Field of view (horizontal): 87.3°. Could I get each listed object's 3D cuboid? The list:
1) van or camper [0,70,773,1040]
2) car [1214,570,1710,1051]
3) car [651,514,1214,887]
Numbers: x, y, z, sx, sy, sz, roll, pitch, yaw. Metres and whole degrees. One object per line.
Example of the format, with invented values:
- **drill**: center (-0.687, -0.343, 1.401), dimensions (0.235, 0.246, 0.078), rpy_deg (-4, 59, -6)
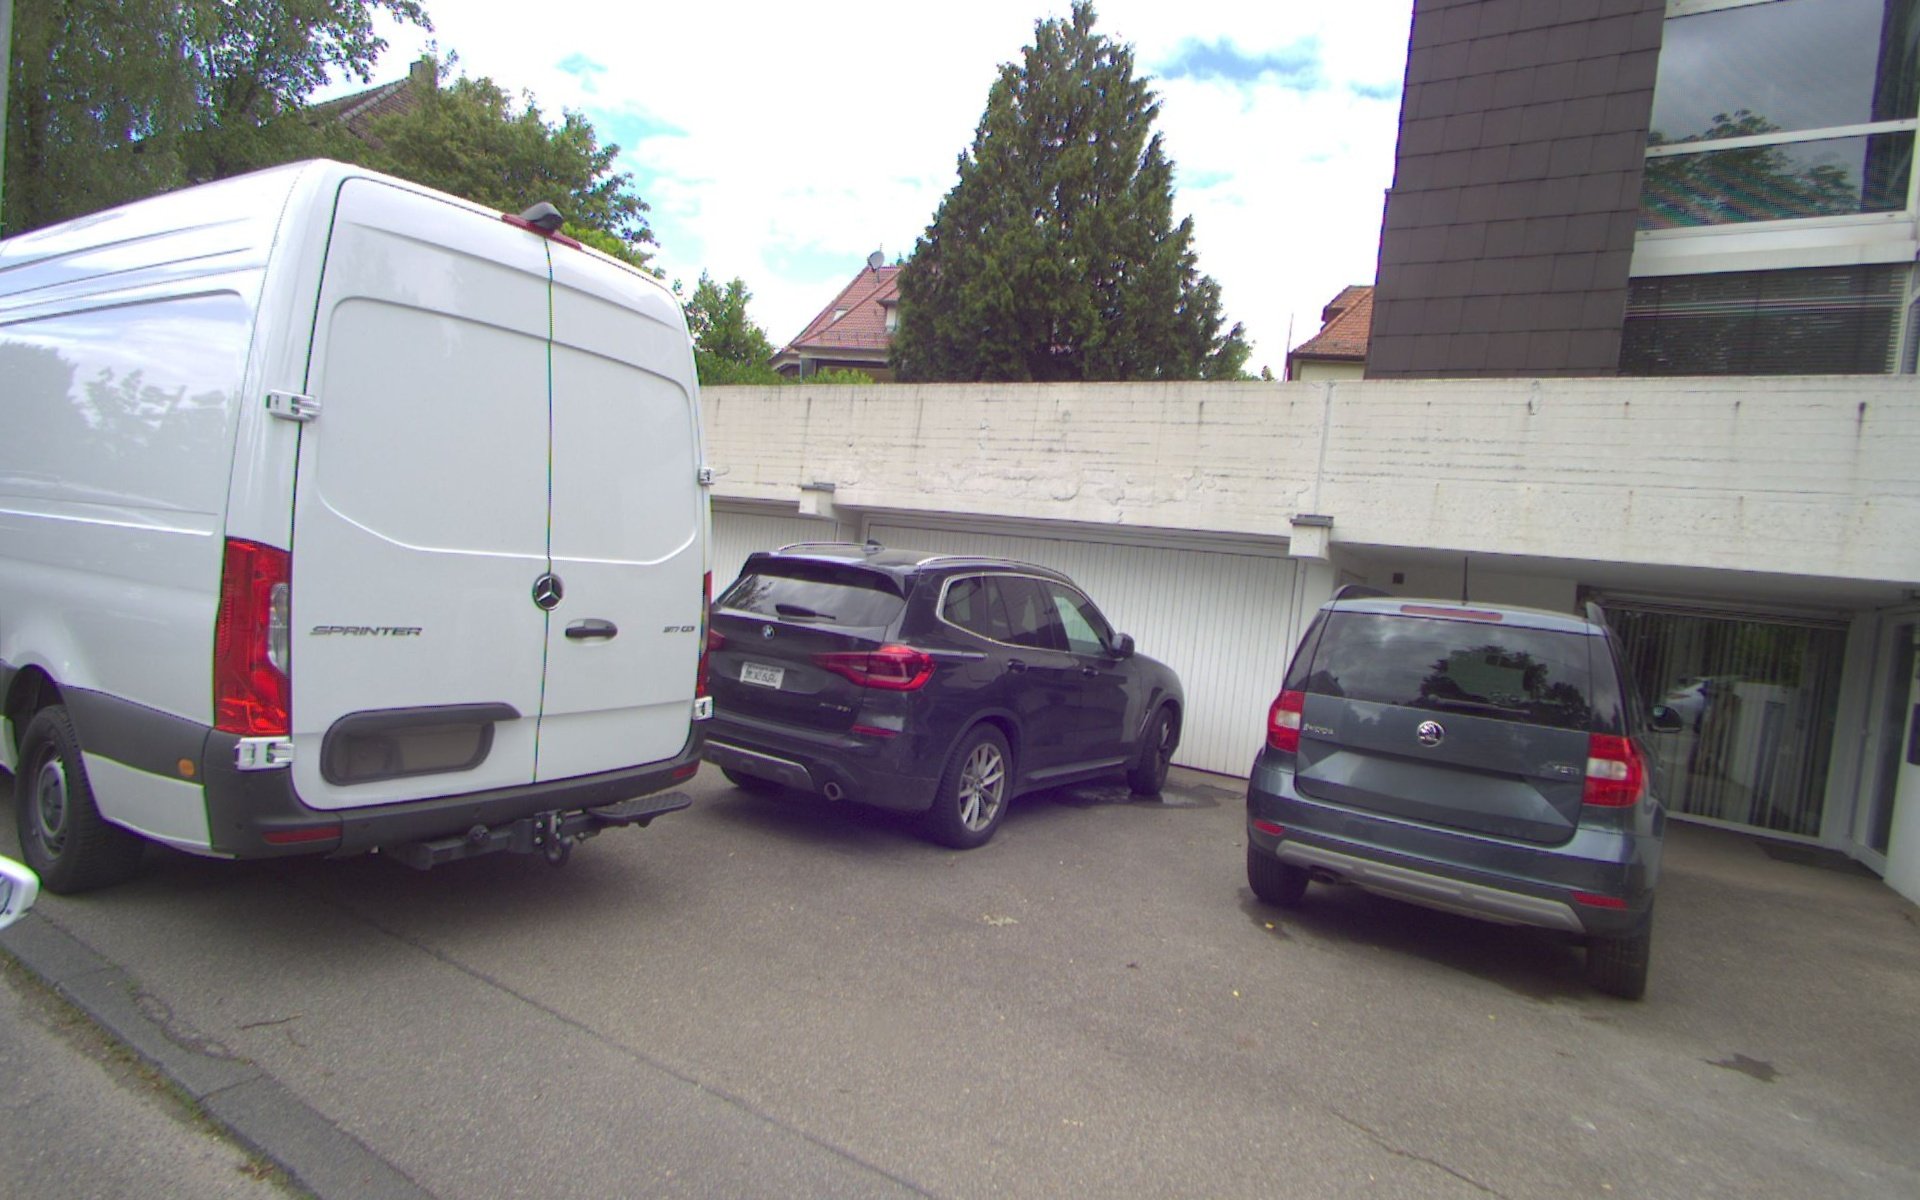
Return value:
- **van or camper**: center (-4.147, -0.368, 5.308), dimensions (6.436, 2.662, 1.990), rpy_deg (6, 4, 32)
- **car**: center (3.081, 0.867, 5.805), dimensions (1.717, 1.672, 3.899), rpy_deg (6, 1, 35)
- **car**: center (0.193, 0.543, 7.048), dimensions (1.668, 1.696, 4.384), rpy_deg (6, 1, 32)
